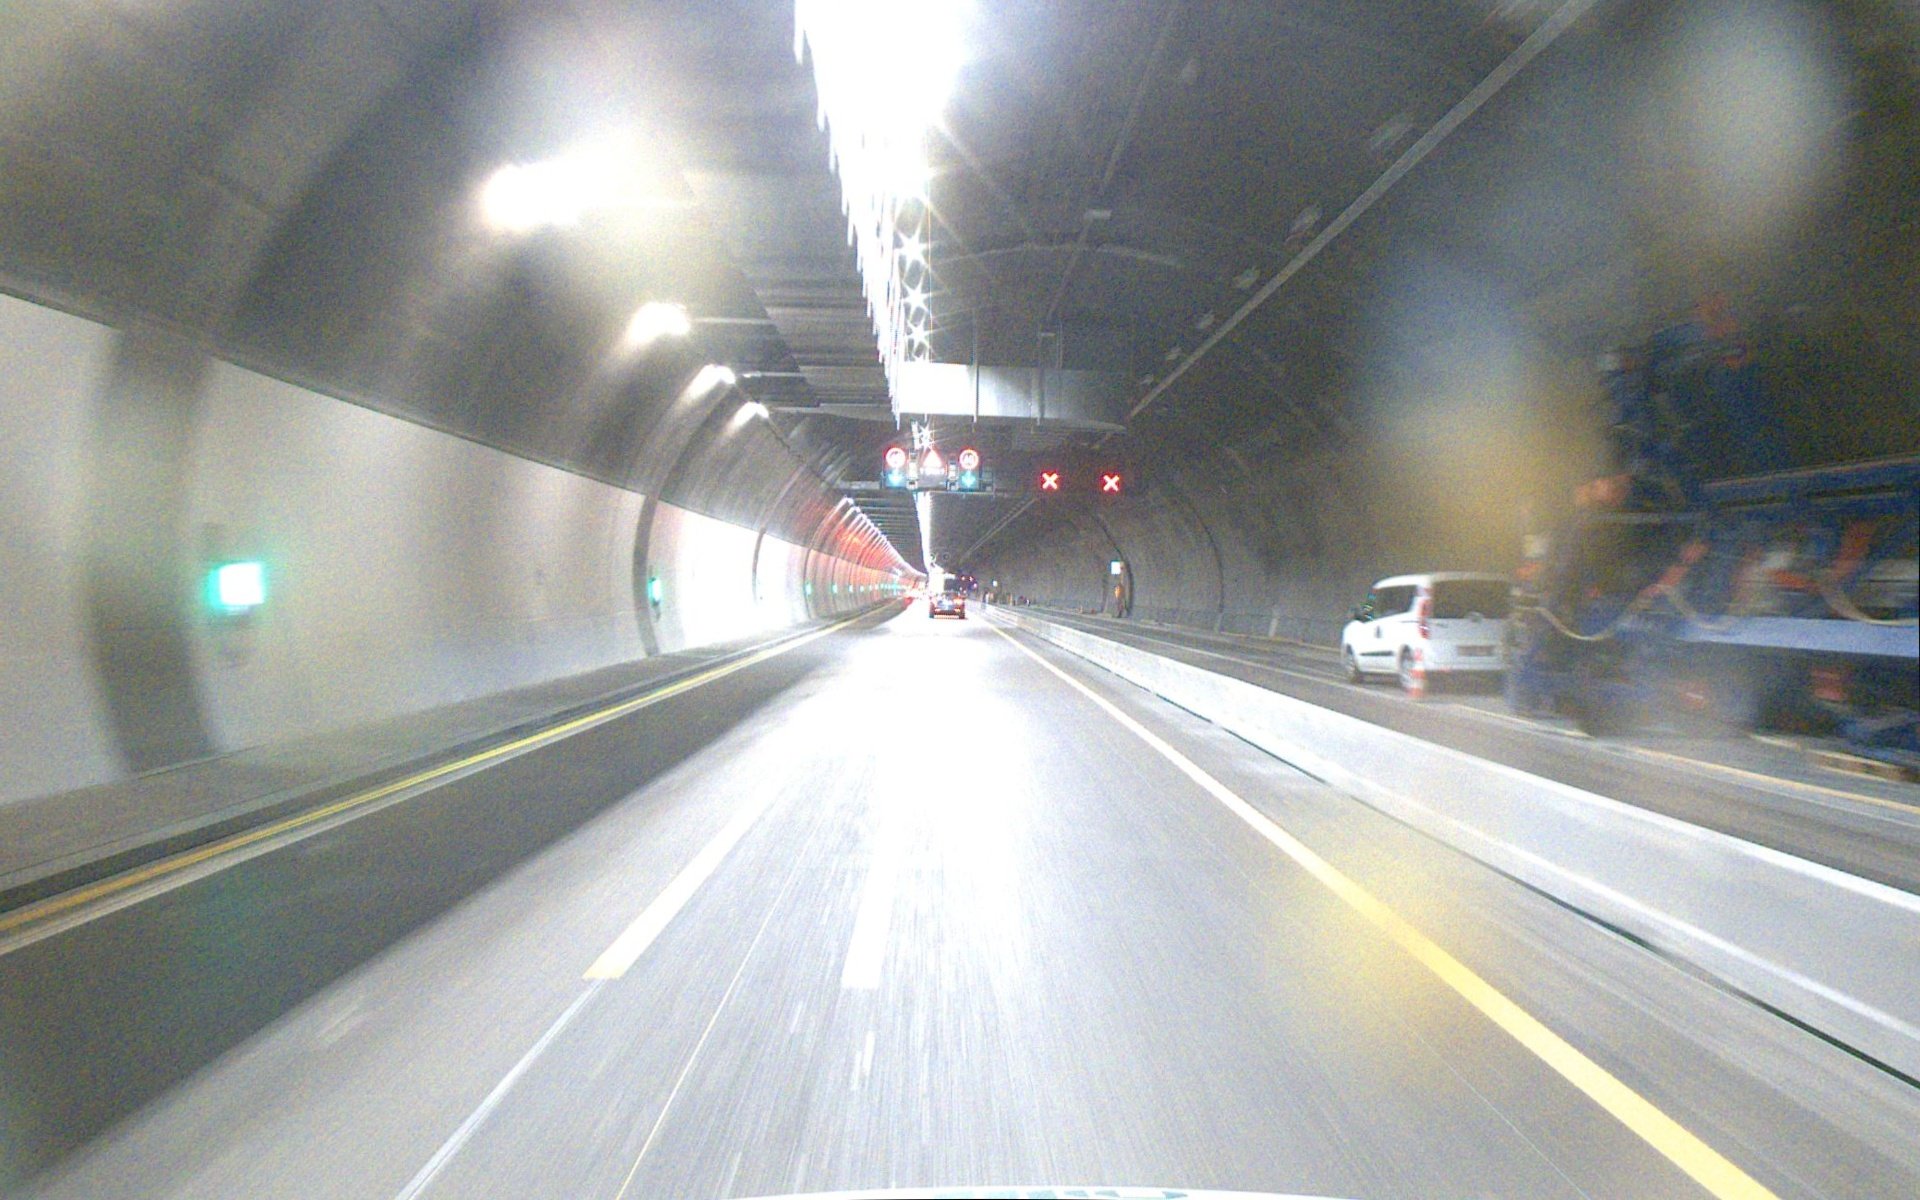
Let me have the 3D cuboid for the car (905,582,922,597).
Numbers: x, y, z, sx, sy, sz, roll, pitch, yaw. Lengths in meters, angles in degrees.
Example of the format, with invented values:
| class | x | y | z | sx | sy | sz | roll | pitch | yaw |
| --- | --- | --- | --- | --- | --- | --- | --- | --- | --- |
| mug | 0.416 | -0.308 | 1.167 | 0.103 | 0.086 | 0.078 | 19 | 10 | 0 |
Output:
| class | x | y | z | sx | sy | sz | roll | pitch | yaw |
| --- | --- | --- | --- | --- | --- | --- | --- | --- | --- |
| car | -5.381 | -1.229 | 191.795 | 1.891 | 1.716 | 4.000 | 0 | 1 | -1 |

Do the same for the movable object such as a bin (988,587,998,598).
| class | x | y | z | sx | sy | sz | roll | pitch | yaw |
| --- | --- | --- | --- | --- | --- | --- | --- | --- | --- |
| movable object such as a bin | 4.552 | -1.066 | 229.531 | 1.210 | 1.467 | 2.216 | 2 | 0 | -2 |

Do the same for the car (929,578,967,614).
| class | x | y | z | sx | sy | sz | roll | pitch | yaw |
| --- | --- | --- | --- | --- | --- | --- | --- | --- | --- |
| car | -0.649 | -0.228 | 85.886 | 1.907 | 1.826 | 3.999 | 0 | 1 | -1 |

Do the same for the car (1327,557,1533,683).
| class | x | y | z | sx | sy | sz | roll | pitch | yaw |
| --- | --- | --- | --- | --- | --- | --- | --- | --- | --- |
| car | 7.616 | 0.270 | 27.272 | 1.717 | 1.877 | 4.641 | -1 | 1 | -5 |
